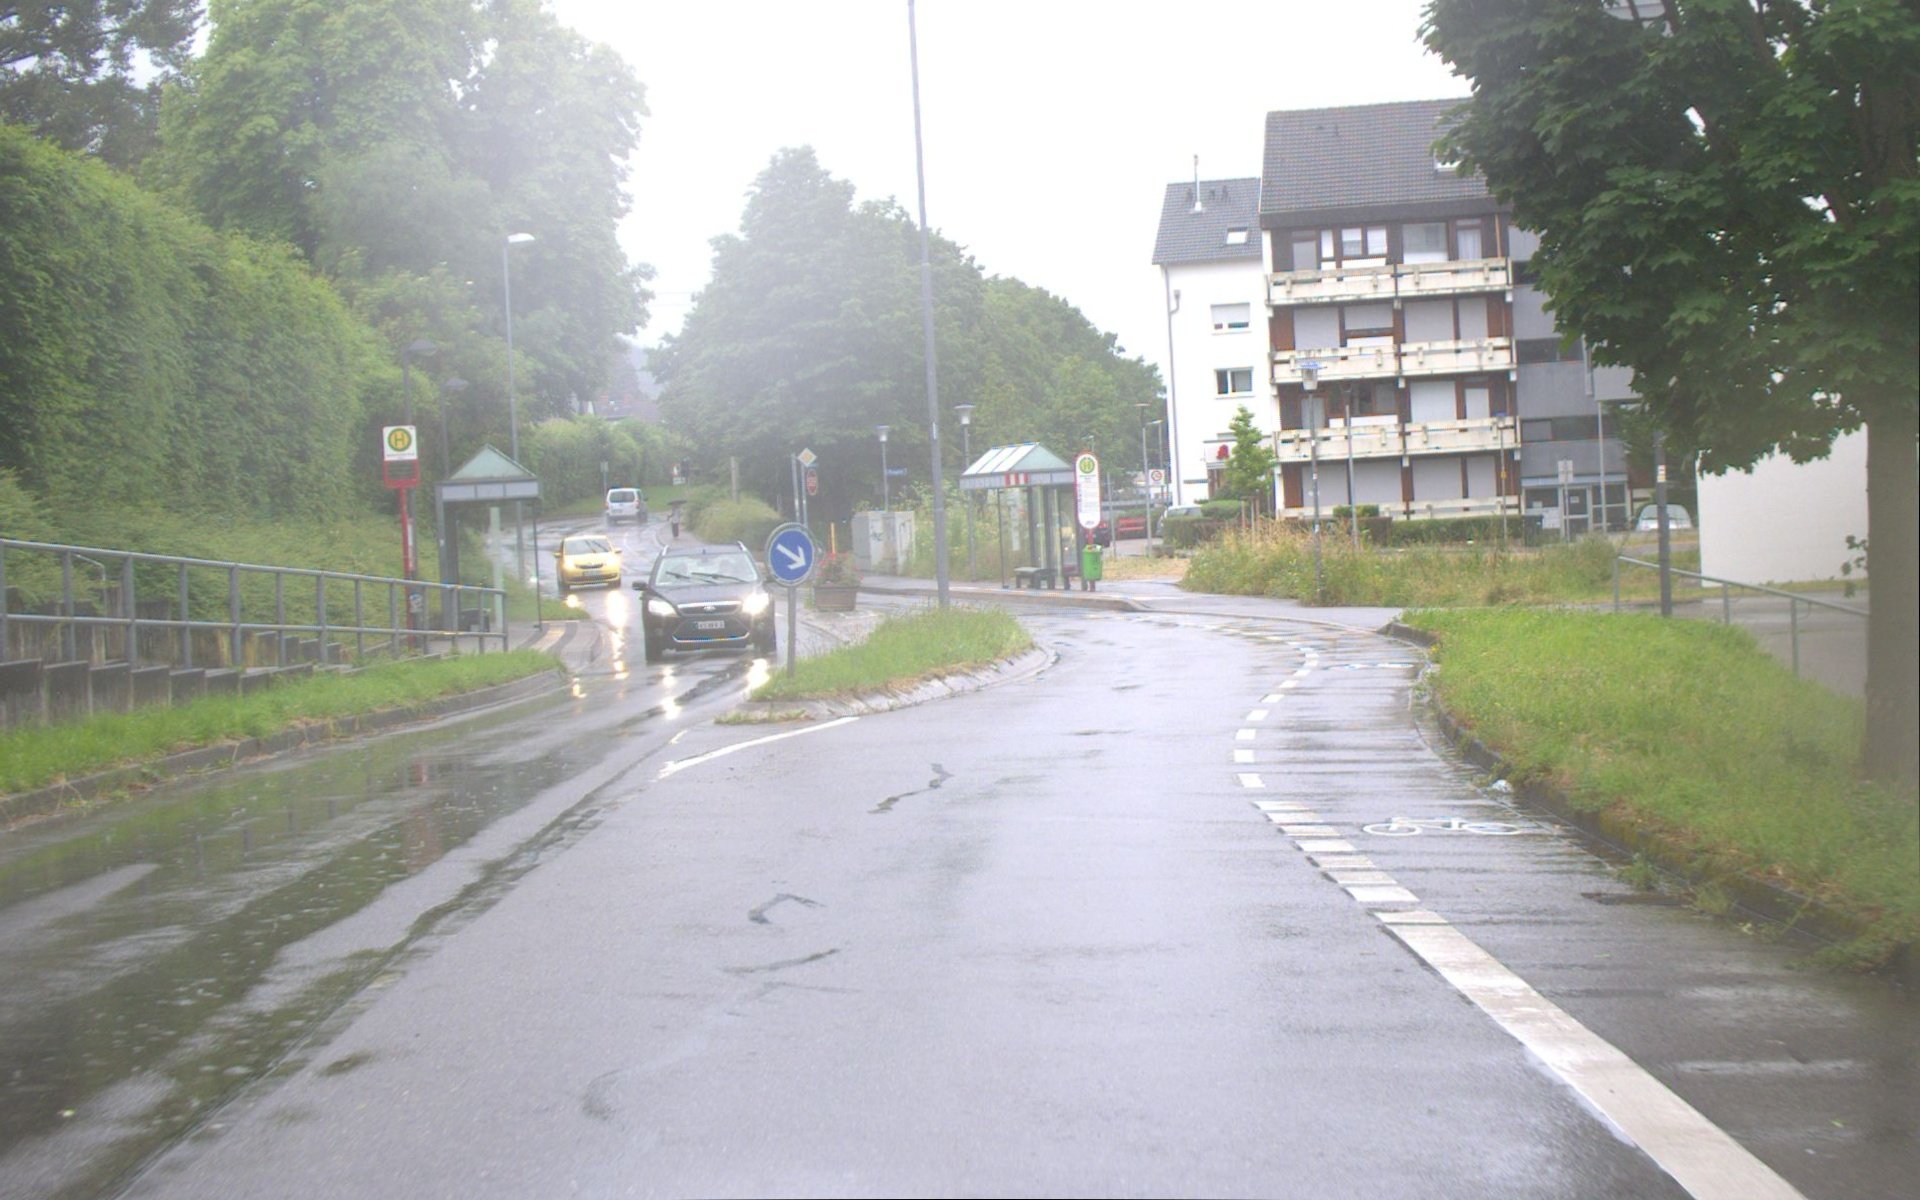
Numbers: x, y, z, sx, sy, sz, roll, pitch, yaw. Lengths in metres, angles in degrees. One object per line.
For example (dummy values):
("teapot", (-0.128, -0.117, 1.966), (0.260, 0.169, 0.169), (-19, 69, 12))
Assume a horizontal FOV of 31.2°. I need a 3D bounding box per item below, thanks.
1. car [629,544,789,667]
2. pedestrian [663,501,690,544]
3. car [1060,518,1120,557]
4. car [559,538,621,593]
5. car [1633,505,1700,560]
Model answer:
("car", (-3.389, 0.033, 47.070), (1.760, 1.498, 4.141), (-4, 1, 0))
("pedestrian", (-11.578, -3.170, 140.407), (0.920, 1.669, 1.057), (-4, 3, -8))
("car", (5.180, -2.506, 137.437), (1.688, 1.433, 3.613), (-2, 3, -8))
("car", (-10.451, -0.983, 96.989), (1.572, 1.405, 3.475), (-4, 2, -7))
("car", (20.537, -1.955, 100.033), (1.716, 1.436, 3.705), (-2, -1, 9))
